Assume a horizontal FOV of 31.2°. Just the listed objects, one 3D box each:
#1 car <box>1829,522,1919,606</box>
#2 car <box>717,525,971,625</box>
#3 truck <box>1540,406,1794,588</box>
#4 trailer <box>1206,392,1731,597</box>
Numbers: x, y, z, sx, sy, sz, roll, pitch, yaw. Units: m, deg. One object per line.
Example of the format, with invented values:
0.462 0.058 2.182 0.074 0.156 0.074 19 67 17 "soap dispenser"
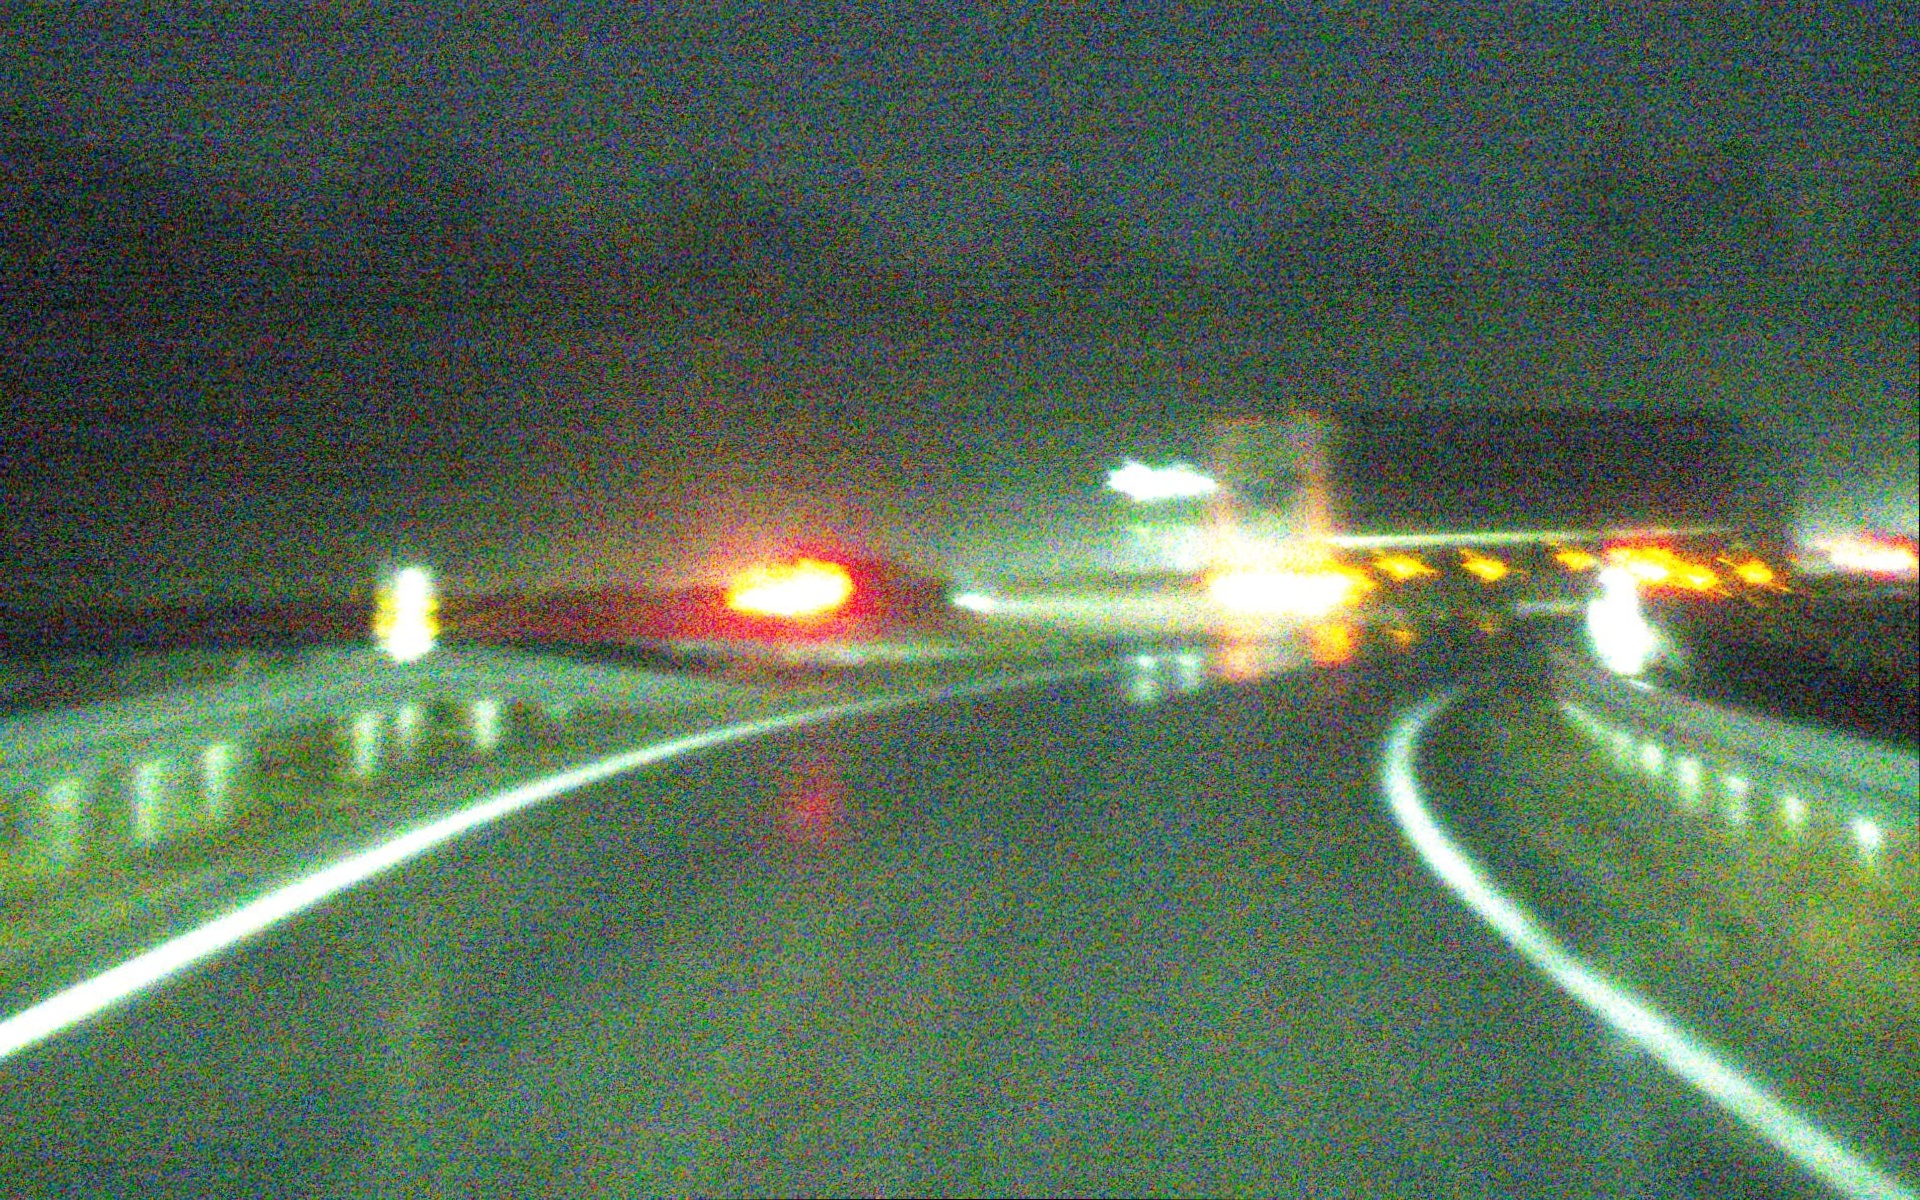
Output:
23.953 -0.932 86.959 3.989 2.006 1.999 -2 3 -44 "car"
-1.975 -0.459 59.126 3.989 1.612 1.999 -1 3 -42 "car"
14.942 -2.182 72.500 5.444 3.698 2.595 -1 3 -45 "truck"
10.343 -2.067 67.899 2.599 3.712 13.617 3 3 45 "trailer"
